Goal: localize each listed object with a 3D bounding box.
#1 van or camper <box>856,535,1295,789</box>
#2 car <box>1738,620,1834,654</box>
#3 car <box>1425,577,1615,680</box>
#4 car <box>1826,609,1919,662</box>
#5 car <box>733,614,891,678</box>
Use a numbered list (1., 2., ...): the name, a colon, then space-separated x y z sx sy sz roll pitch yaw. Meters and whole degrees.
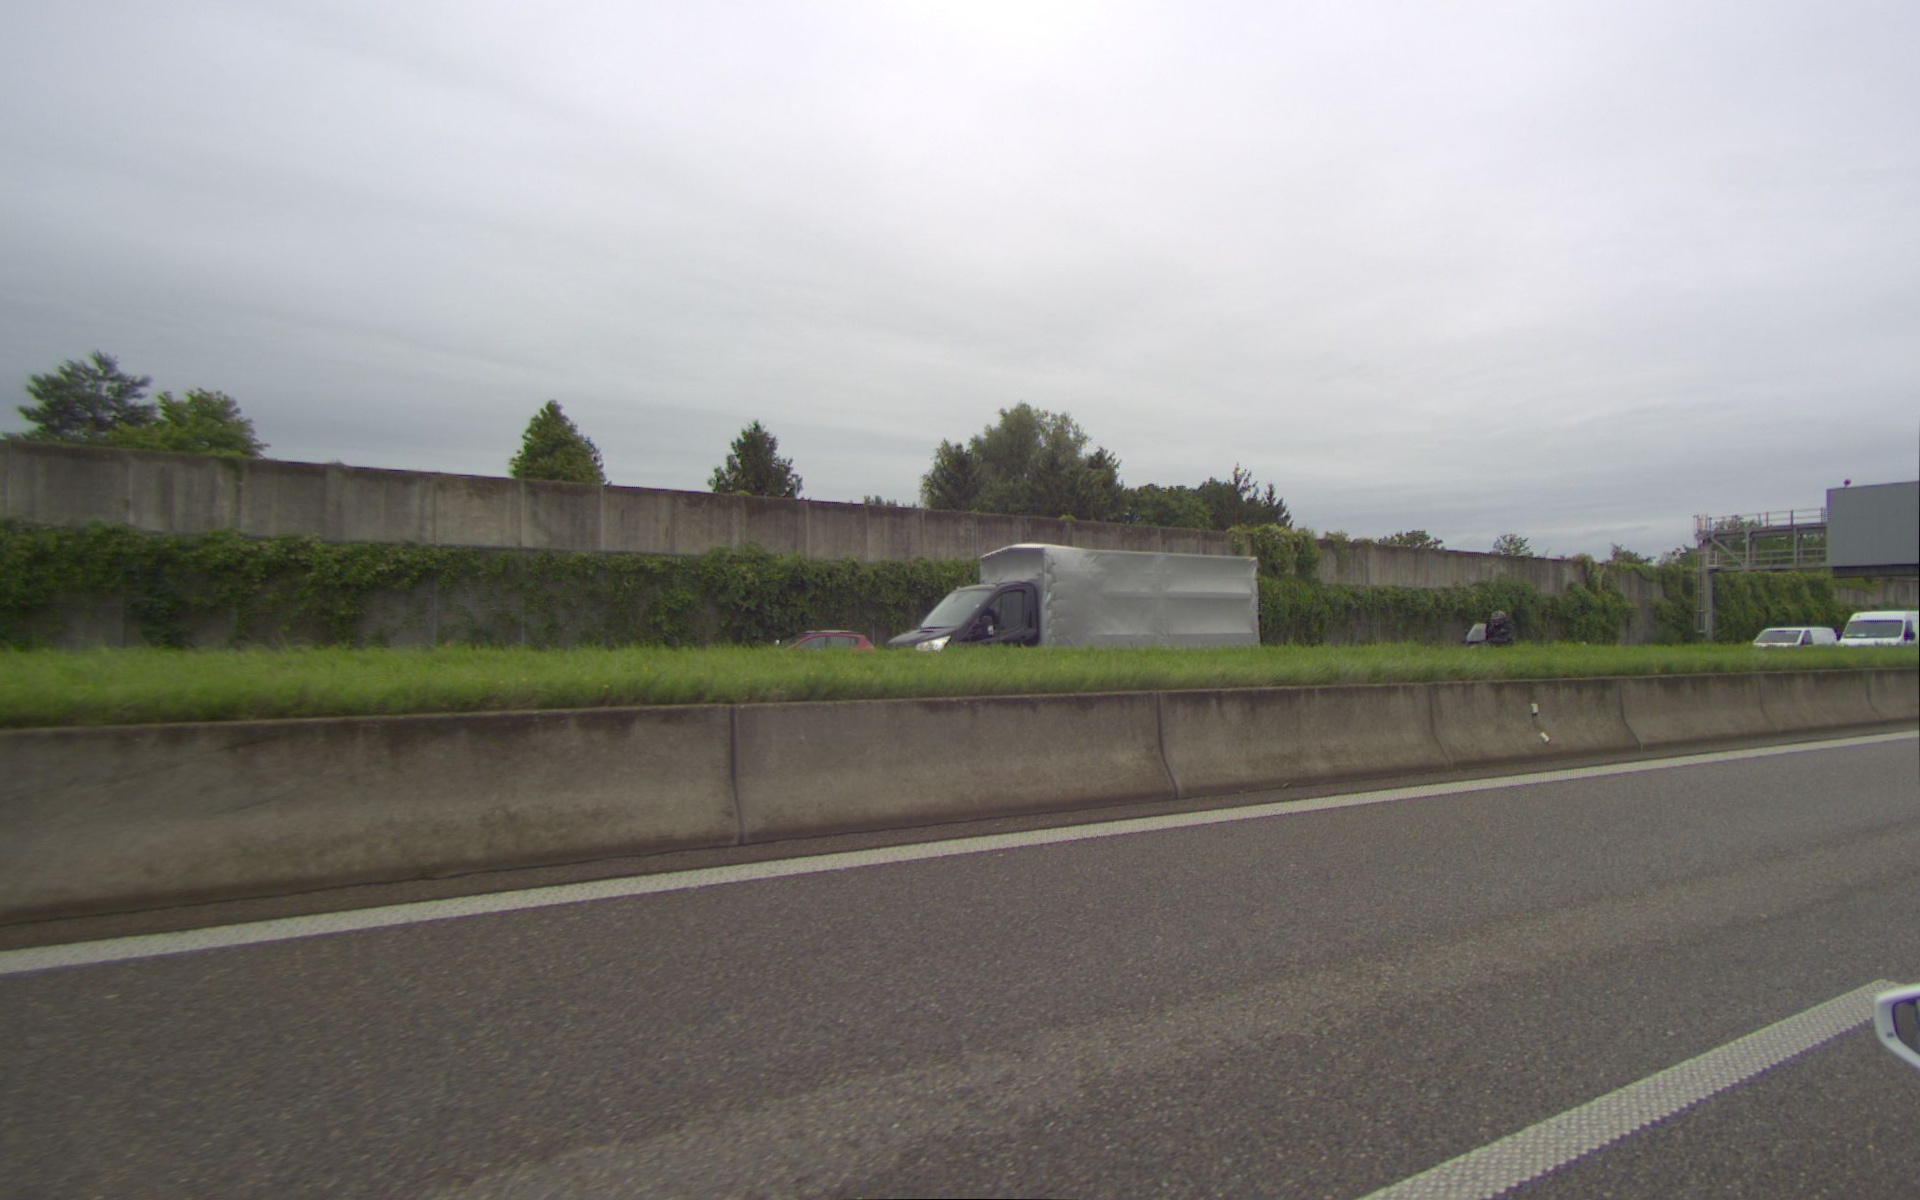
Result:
1. van or camper: 2.403 1.079 19.139 8.304 4.001 2.695 2 0 -30
2. car: 36.120 1.607 43.904 4.475 1.362 1.869 1 0 -31
3. car: 12.019 0.603 21.516 3.953 2.040 1.759 2 0 -30
4. car: 37.780 1.454 40.665 6.457 1.937 2.116 2 0 -30
5. car: -4.078 1.258 27.892 4.019 1.628 1.611 2 0 -29
